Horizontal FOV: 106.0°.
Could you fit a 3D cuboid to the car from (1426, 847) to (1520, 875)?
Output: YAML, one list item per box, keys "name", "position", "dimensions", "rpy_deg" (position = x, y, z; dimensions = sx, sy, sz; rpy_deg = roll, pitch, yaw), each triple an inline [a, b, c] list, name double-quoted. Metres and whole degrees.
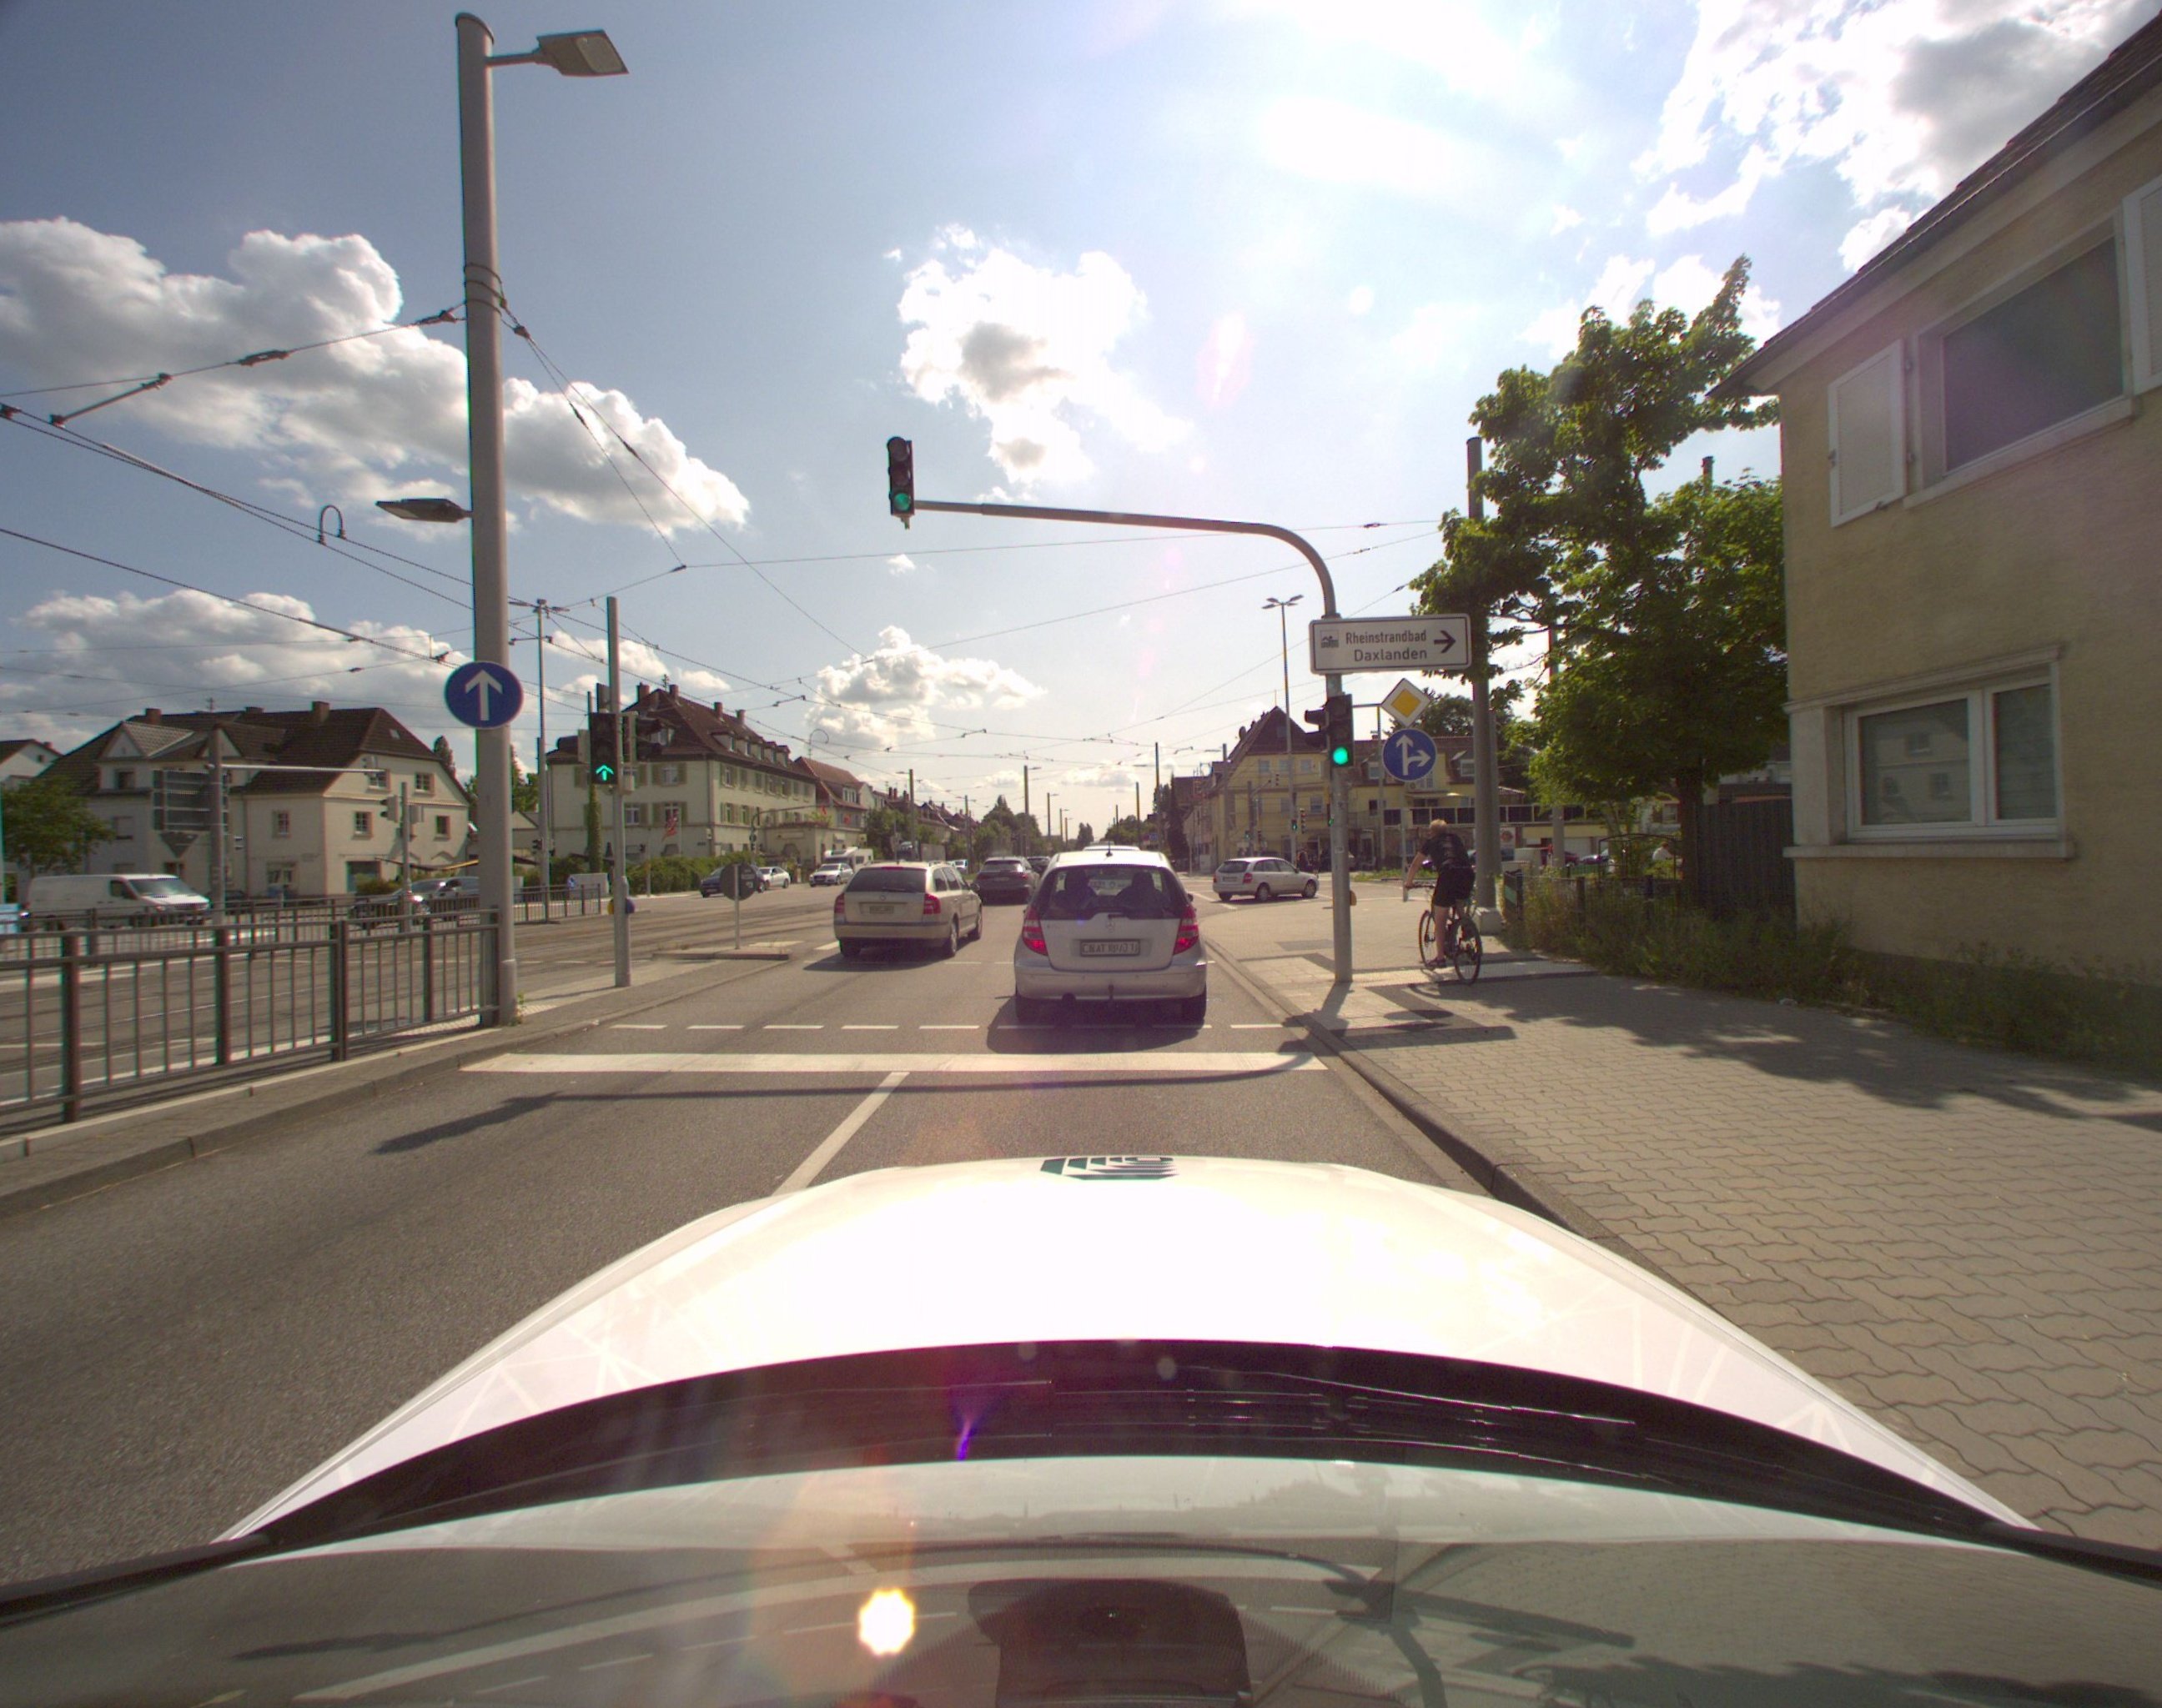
- name: "car"
  position: [21.499, 0.384, 44.797]
  dimensions: [4.304, 1.328, 1.738]
  rpy_deg: [-3, -1, -2]

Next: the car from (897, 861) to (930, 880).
- name: "car"
  position: [-15.438, 1.506, 75.242]
  dimensions: [1.986, 1.552, 4.179]
  rpy_deg: [-5, -1, 2]

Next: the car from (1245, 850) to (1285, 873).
- name: "car"
  position: [12.831, 0.543, 57.049]
  dimensions: [1.986, 1.596, 4.132]
  rpy_deg: [0, -1, 2]

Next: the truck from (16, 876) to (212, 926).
- name: "truck"
  position: [-38.756, 1.871, 32.713]
  dimensions: [6.158, 1.922, 1.691]
  rpy_deg: [0, -1, 3]

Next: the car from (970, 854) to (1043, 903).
- name: "car"
  position: [-2.370, 0.777, 27.084]
  dimensions: [1.909, 1.477, 4.563]
  rpy_deg: [0, -1, 1]

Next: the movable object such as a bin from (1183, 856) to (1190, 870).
- name: "movable object such as a bin"
  position: [8.816, 0.759, 67.888]
  dimensions: [0.509, 1.105, 0.855]
  rpy_deg: [-1, -1, 2]

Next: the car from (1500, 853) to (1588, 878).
- name: "car"
  position: [27.759, 0.680, 48.916]
  dimensions: [4.304, 1.474, 1.738]
  rpy_deg: [0, -1, -2]

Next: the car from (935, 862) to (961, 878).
- name: "car"
  position: [-14.589, 1.695, 89.551]
  dimensions: [1.787, 1.637, 4.475]
  rpy_deg: [-3, -1, 3]

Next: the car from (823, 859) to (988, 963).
- name: "car"
  position: [-2.711, 0.817, 13.538]
  dimensions: [1.724, 1.449, 4.124]
  rpy_deg: [0, 0, 2]

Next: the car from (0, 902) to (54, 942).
- name: "car"
  position: [-45.405, 2.793, 33.392]
  dimensions: [4.146, 1.552, 2.002]
  rpy_deg: [-1, -2, 3]

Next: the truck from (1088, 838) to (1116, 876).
- name: "truck"
  position: [1.419, 0.260, 57.357]
  dimensions: [1.846, 2.552, 5.853]
  rpy_deg: [0, -1, 0]

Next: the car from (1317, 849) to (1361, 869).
- name: "car"
  position: [18.092, 0.379, 57.223]
  dimensions: [1.860, 1.351, 4.132]
  rpy_deg: [0, -1, 2]

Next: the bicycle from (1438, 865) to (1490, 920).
- name: "bicycle"
  position: [7.535, 0.725, 15.983]
  dimensions: [0.457, 1.018, 1.767]
  rpy_deg: [-1, -1, 41]

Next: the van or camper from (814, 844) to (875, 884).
- name: "van or camper"
  position: [-18.865, 0.764, 65.365]
  dimensions: [2.315, 2.930, 7.757]
  rpy_deg: [-2, 0, 2]

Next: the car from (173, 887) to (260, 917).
- name: "car"
  position: [-50.954, 2.792, 48.010]
  dimensions: [4.238, 1.668, 1.943]
  rpy_deg: [0, -1, 19]

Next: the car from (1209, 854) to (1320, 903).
- name: "car"
  position: [6.181, 0.757, 27.204]
  dimensions: [1.714, 1.403, 4.040]
  rpy_deg: [1, 2, 45]

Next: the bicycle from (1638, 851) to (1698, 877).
- name: "bicycle"
  position: [18.733, 0.319, 26.008]
  dimensions: [1.576, 0.781, 0.504]
  rpy_deg: [-2, -1, -4]

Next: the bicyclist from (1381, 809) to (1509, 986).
- name: "bicyclist"
  position: [3.997, 0.451, 9.033]
  dimensions: [0.826, 1.794, 1.083]
  rpy_deg: [-3, 0, -3]

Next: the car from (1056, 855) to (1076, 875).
- name: "car"
  position: [-1.375, 1.029, 75.617]
  dimensions: [1.846, 1.843, 3.917]
  rpy_deg: [0, -1, 0]

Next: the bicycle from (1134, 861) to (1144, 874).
- name: "bicycle"
  position: [5.079, 1.197, 71.618]
  dimensions: [0.649, 1.117, 1.585]
  rpy_deg: [0, -1, -5]

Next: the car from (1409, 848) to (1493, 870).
- name: "car"
  position: [22.115, 0.302, 48.753]
  dimensions: [4.304, 1.308, 1.738]
  rpy_deg: [0, -1, -2]

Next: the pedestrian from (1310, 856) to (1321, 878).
- name: "pedestrian"
  position: [12.181, 0.656, 42.355]
  dimensions: [0.485, 1.136, 0.390]
  rpy_deg: [0, -1, 10]

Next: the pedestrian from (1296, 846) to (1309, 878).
- name: "pedestrian"
  position: [11.548, 0.427, 42.468]
  dimensions: [0.544, 1.643, 0.402]
  rpy_deg: [0, -1, 6]

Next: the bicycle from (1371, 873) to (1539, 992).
- name: "bicycle"
  position: [4.016, 0.790, 8.956]
  dimensions: [0.826, 1.075, 1.969]
  rpy_deg: [-3, 0, -3]

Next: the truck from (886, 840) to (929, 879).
- name: "truck"
  position: [-18.149, 0.561, 85.537]
  dimensions: [2.587, 3.821, 5.673]
  rpy_deg: [-4, 0, 4]

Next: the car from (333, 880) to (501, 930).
- name: "car"
  position: [-20.948, 1.560, 25.960]
  dimensions: [1.678, 1.352, 4.347]
  rpy_deg: [0, -1, 2]

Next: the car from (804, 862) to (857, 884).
- name: "car"
  position: [-15.938, 1.185, 52.036]
  dimensions: [1.986, 1.352, 4.179]
  rpy_deg: [0, -1, 2]

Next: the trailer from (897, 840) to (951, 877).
- name: "trailer"
  position: [-17.677, 0.421, 92.540]
  dimensions: [2.588, 3.821, 12.849]
  rpy_deg: [-4, 0, 4]

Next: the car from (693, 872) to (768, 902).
- name: "car"
  position: [-16.722, 1.535, 39.103]
  dimensions: [1.678, 1.352, 4.179]
  rpy_deg: [0, -1, 2]

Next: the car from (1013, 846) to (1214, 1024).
- name: "car"
  position: [0.256, 0.717, 8.989]
  dimensions: [1.725, 1.517, 4.014]
  rpy_deg: [0, -1, -1]

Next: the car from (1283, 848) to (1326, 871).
- name: "car"
  position: [15.668, 0.411, 57.340]
  dimensions: [1.986, 1.596, 4.132]
  rpy_deg: [0, -1, 2]

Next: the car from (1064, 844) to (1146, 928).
- name: "car"
  position: [0.510, 0.693, 19.026]
  dimensions: [1.724, 1.762, 4.016]
  rpy_deg: [0, -1, 0]

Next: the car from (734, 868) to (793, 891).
- name: "car"
  position: [-19.552, 1.532, 50.324]
  dimensions: [1.677, 1.352, 4.349]
  rpy_deg: [0, -1, 4]

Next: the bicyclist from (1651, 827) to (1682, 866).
- name: "bicyclist"
  position: [18.700, -0.228, 26.016]
  dimensions: [0.575, 1.234, 0.509]
  rpy_deg: [-2, -1, -4]

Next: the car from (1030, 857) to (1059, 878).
- name: "car"
  position: [-2.544, 0.963, 57.409]
  dimensions: [1.846, 1.388, 3.917]
  rpy_deg: [0, -1, 0]

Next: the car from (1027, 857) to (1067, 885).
- name: "car"
  position: [-1.696, 0.864, 41.902]
  dimensions: [1.846, 1.388, 4.513]
  rpy_deg: [0, -1, 0]

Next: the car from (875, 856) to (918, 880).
- name: "car"
  position: [-14.847, 1.085, 65.928]
  dimensions: [1.985, 1.776, 4.883]
  rpy_deg: [-3, 0, 4]
